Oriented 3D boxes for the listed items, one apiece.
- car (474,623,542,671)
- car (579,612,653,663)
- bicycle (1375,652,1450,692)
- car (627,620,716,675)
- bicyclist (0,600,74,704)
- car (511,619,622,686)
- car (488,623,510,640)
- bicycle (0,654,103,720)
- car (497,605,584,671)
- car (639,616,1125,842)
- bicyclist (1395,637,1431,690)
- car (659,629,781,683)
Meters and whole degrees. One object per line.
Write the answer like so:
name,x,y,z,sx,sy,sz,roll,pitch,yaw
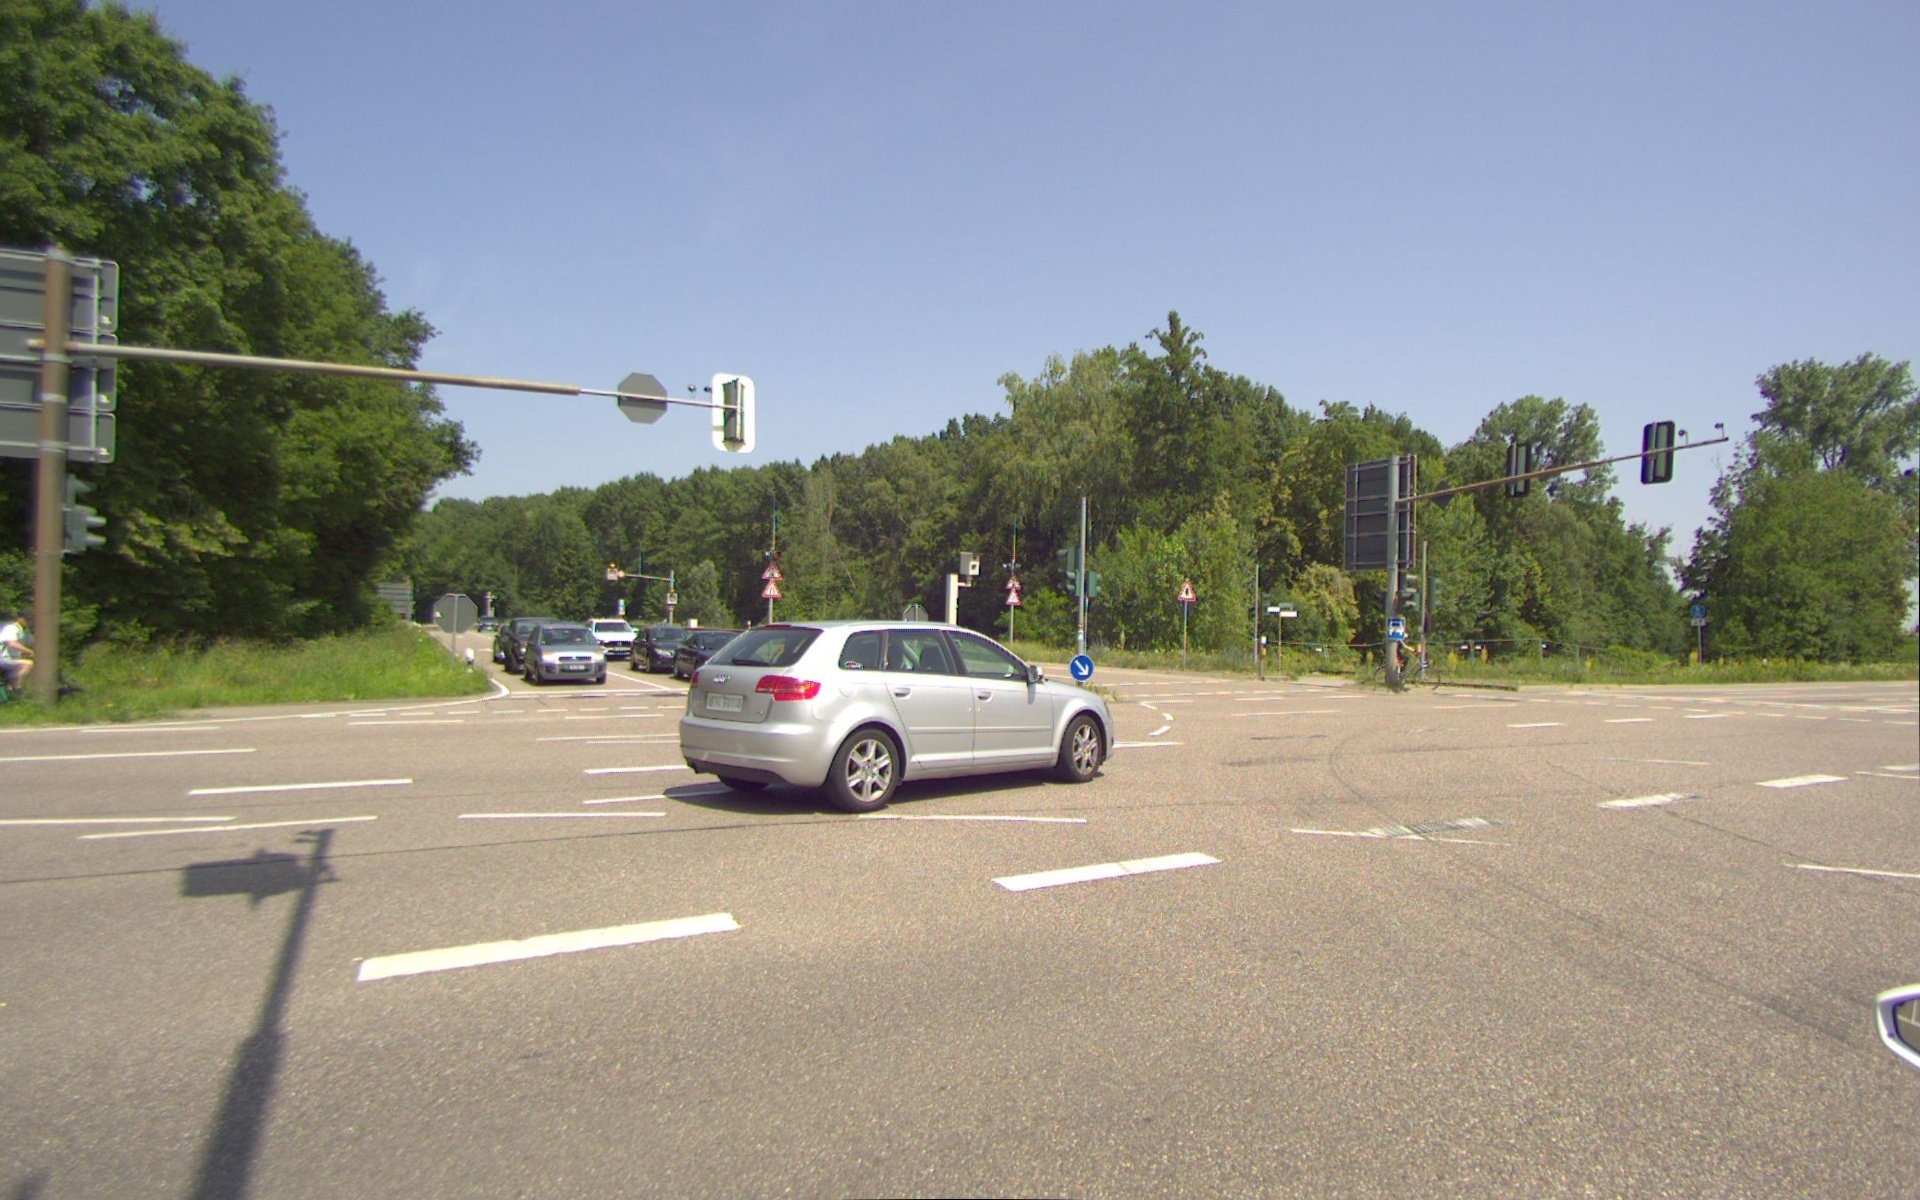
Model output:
car,-16.941,1.730,37.567,1.851,1.657,4.378,2,-2,-30
car,-13.992,1.509,40.696,2.041,1.920,4.786,2,-2,-28
bicycle,12.977,2.058,28.872,1.831,1.077,0.725,1,-1,8
car,-9.398,1.488,32.426,1.973,1.657,4.790,2,-2,-25
bicyclist,-13.735,0.760,14.794,0.798,1.484,0.658,2,-1,-20
car,-10.522,1.329,26.657,2.104,1.588,4.784,2,-2,-29
car,-48.106,3.248,104.731,1.973,1.657,4.790,2,-2,-25
bicycle,-13.734,1.273,14.775,1.581,0.935,0.564,2,-1,-20
car,-13.338,1.186,31.742,1.976,1.923,4.784,2,-2,-29
car,-0.464,0.890,8.592,1.746,1.410,3.991,2,0,43
bicyclist,13.004,1.811,28.879,0.701,1.479,0.927,1,-1,8
car,-6.673,1.490,27.549,2.080,1.307,4.785,2,-2,-29
